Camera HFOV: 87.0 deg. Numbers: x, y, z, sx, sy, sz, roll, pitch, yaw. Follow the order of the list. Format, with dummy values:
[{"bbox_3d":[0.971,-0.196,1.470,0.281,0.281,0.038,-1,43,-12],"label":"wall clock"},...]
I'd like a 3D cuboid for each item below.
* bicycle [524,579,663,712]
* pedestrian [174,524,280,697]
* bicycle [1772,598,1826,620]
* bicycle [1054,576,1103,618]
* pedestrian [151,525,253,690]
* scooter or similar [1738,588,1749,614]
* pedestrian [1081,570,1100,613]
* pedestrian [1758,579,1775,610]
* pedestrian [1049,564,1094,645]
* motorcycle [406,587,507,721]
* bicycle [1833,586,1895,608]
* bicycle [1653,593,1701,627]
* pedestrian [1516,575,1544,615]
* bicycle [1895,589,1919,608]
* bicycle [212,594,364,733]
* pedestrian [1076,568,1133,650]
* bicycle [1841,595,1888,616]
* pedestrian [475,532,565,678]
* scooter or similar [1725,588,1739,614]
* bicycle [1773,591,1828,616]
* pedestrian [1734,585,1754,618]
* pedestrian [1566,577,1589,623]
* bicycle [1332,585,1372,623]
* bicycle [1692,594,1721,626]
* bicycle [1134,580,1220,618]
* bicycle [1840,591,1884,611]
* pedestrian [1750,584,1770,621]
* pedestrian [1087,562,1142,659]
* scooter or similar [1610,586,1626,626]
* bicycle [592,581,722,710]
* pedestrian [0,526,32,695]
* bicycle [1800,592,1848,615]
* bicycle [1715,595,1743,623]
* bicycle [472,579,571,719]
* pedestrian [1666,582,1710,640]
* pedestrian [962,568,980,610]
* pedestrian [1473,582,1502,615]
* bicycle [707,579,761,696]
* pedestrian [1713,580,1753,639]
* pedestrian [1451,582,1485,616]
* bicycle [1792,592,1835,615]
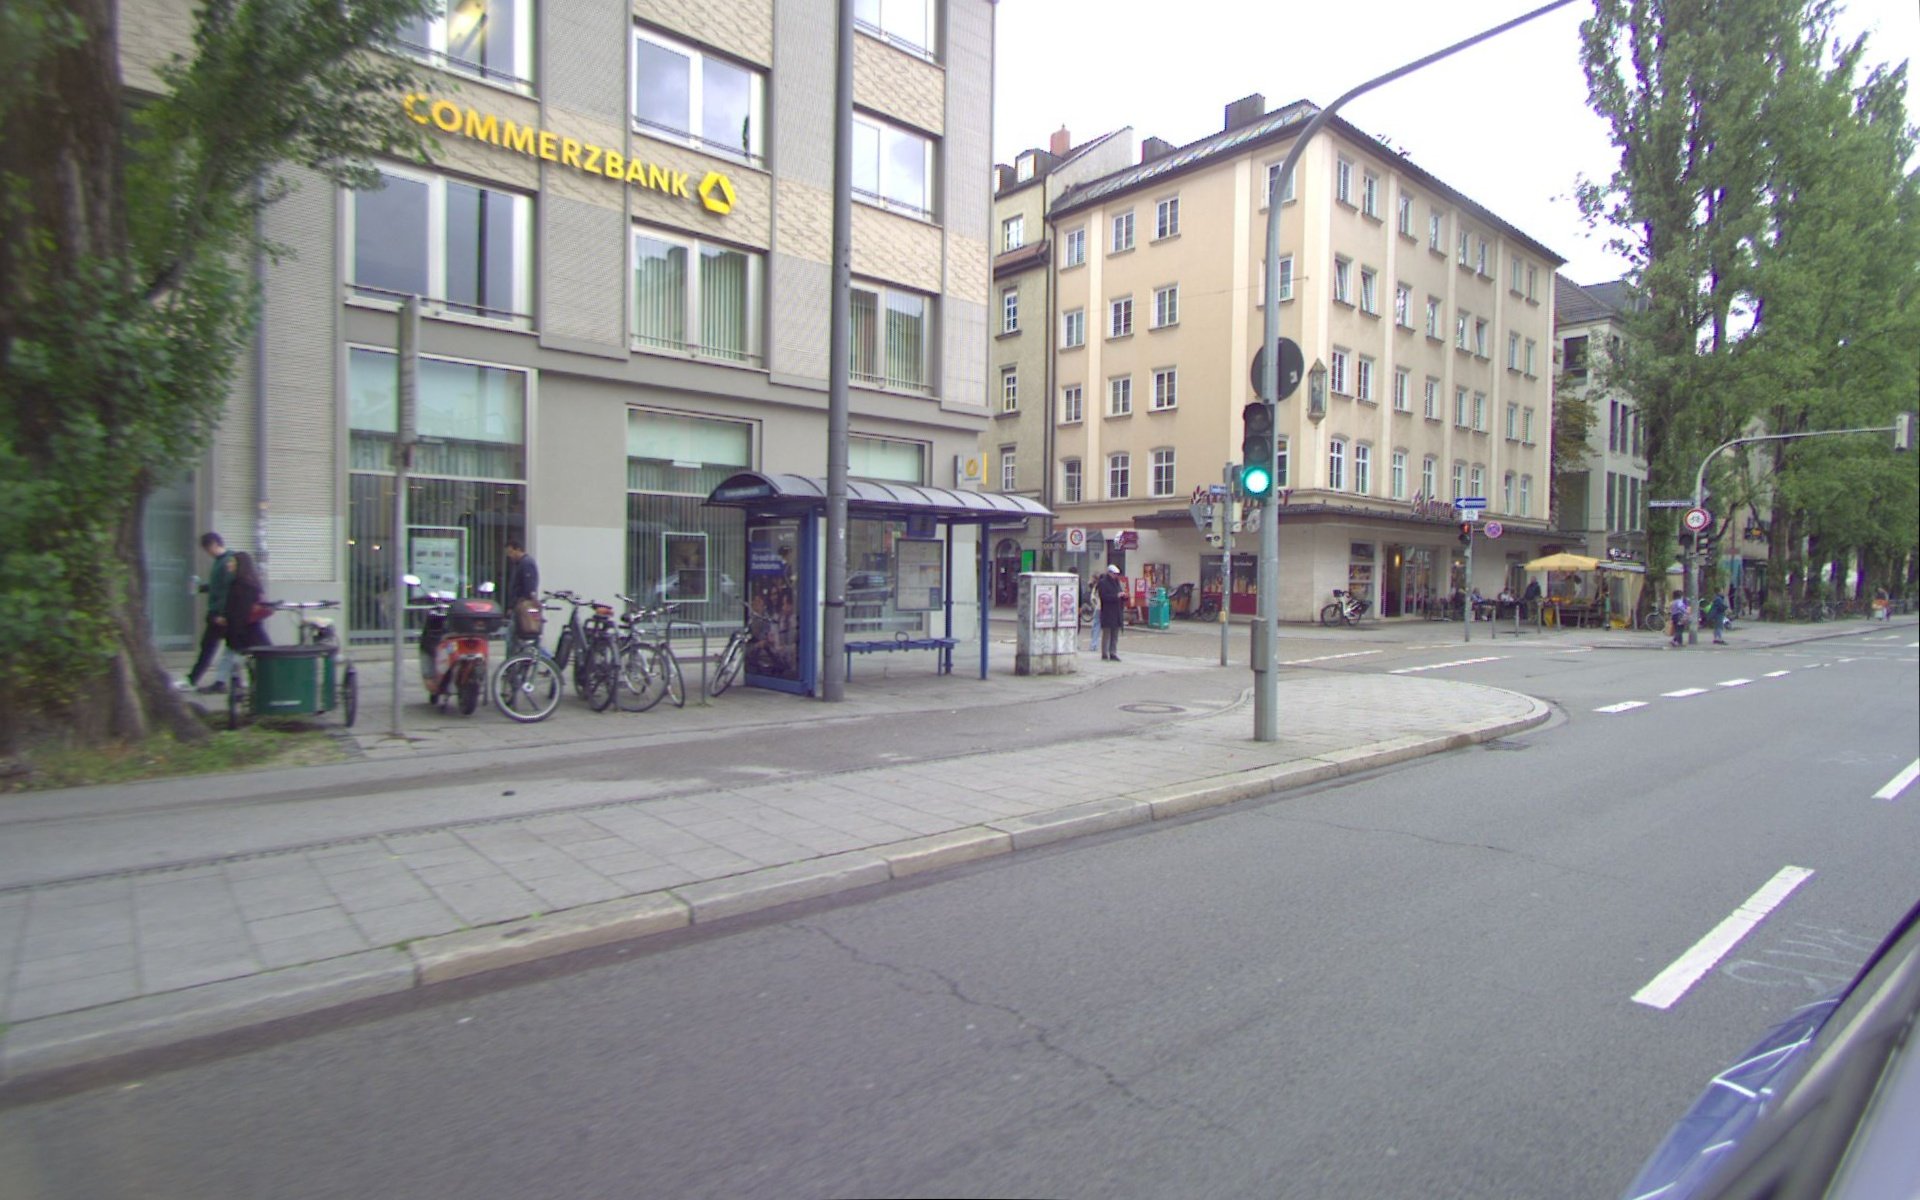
[{"bbox_3d":[-4.006,0.419,10.933,0.622,1.268,2.347,0,1,-41],"label":"bicycle"},{"bbox_3d":[-7.918,0.079,10.934,0.844,1.779,0.752,-2,3,-40],"label":"pedestrian"},{"bbox_3d":[40.528,0.430,48.898,1.997,0.957,0.282,2,1,42],"label":"bicycle"},{"bbox_3d":[4.051,-0.124,34.665,0.472,1.403,1.832,0,1,-39],"label":"bicycle"},{"bbox_3d":[-8.556,0.056,11.427,0.844,1.779,0.752,-2,3,-40],"label":"pedestrian"},{"bbox_3d":[39.269,0.043,50.705,1.018,1.289,0.247,0,1,-41],"label":"scooter or similar"},{"bbox_3d":[4.917,-0.325,38.143,0.437,1.577,0.583,0,0,-40],"label":"pedestrian"},{"bbox_3d":[47.083,-0.338,59.079,0.662,1.807,0.658,0,1,-40],"label":"pedestrian"},{"bbox_3d":[2.525,0.086,22.938,0.698,1.780,0.751,0,1,-40],"label":"pedestrian"},{"bbox_3d":[-4.873,0.466,9.740,0.500,1.154,1.728,0,2,-39],"label":"motorcycle"},{"bbox_3d":[52.756,-0.173,59.067,0.948,1.230,2.576,0,2,-40],"label":"bicycle"},{"bbox_3d":[23.735,0.328,33.487,1.774,1.084,0.406,-1,-4,-25],"label":"bicycle"},{"bbox_3d":[23.255,-0.226,41.263,0.687,1.609,0.777,0,1,-40],"label":"pedestrian"},{"bbox_3d":[69.374,-0.119,73.836,0.819,1.429,2.580,1,1,23],"label":"bicycle"},{"bbox_3d":[-5.983,0.487,8.953,0.859,1.030,2.152,0,1,-41],"label":"bicycle"},{"bbox_3d":[3.209,0.181,22.502,0.999,1.780,0.752,0,1,-40],"label":"pedestrian"},{"bbox_3d":[49.102,0.279,54.961,0.385,1.022,1.847,0,2,-32],"label":"bicycle"},{"bbox_3d":[-5.809,0.046,13.365,0.875,1.840,0.819,0,1,-42],"label":"pedestrian"},{"bbox_3d":[38.949,0.043,51.049,1.018,1.289,0.331,0,1,-41],"label":"scooter or similar"},{"bbox_3d":[40.371,0.162,48.632,1.996,1.096,0.282,2,1,40],"label":"bicycle"},{"bbox_3d":[44.399,0.071,57.298,0.889,1.874,0.658,0,1,-39],"label":"pedestrian"},{"bbox_3d":[22.915,-0.011,37.551,0.526,1.694,0.542,0,1,-34],"label":"pedestrian"},{"bbox_3d":[12.616,0.115,32.542,1.781,1.185,0.435,-1,0,-43],"label":"bicycle"},{"bbox_3d":[25.737,0.328,34.882,1.740,1.061,0.509,0,2,-43],"label":"bicycle"},{"bbox_3d":[7.633,-0.051,35.738,0.982,1.268,2.975,-1,1,-41],"label":"bicycle"},{"bbox_3d":[53.583,0.068,60.126,0.674,1.141,1.901,0,2,-40],"label":"bicycle"},{"bbox_3d":[44.903,0.138,56.812,0.709,1.996,0.658,1,1,-38],"label":"pedestrian"},{"bbox_3d":[2.913,0.185,19.099,0.739,1.780,0.710,0,1,-40],"label":"pedestrian"},{"bbox_3d":[21.714,0.185,33.406,0.405,1.259,1.356,1,1,32],"label":"scooter or similar"},{"bbox_3d":[-3.393,0.439,11.183,0.469,1.268,2.319,0,1,-41],"label":"bicycle"},{"bbox_3d":[-10.044,0.095,10.220,0.945,1.698,0.752,0,1,-40],"label":"pedestrian"},{"bbox_3d":[44.757,0.169,52.435,1.864,1.149,0.335,2,1,41],"label":"bicycle"},{"bbox_3d":[28.378,0.322,37.343,1.740,0.987,0.509,0,2,-43],"label":"bicycle"},{"bbox_3d":[-4.360,0.431,10.009,0.441,1.254,1.728,0,1,-39],"label":"bicycle"},{"bbox_3d":[19.799,0.294,27.532,0.608,1.536,0.769,0,2,3],"label":"pedestrian"},{"bbox_3d":[0.435,-0.440,39.806,0.573,1.665,0.445,0,0,-32],"label":"pedestrian"},{"bbox_3d":[20.699,-0.077,39.723,0.687,1.280,0.777,0,1,-40],"label":"pedestrian"},{"bbox_3d":[-2.767,0.388,12.262,0.467,1.268,2.252,0,1,-17],"label":"bicycle"},{"bbox_3d":[21.927,0.253,28.706,0.850,1.630,0.766,0,1,-45],"label":"pedestrian"},{"bbox_3d":[19.345,-0.051,38.527,0.687,1.213,0.871,0,6,-40],"label":"pedestrian"},{"bbox_3d":[43.763,0.160,51.891,1.657,1.121,0.391,2,1,38],"label":"bicycle"}]
